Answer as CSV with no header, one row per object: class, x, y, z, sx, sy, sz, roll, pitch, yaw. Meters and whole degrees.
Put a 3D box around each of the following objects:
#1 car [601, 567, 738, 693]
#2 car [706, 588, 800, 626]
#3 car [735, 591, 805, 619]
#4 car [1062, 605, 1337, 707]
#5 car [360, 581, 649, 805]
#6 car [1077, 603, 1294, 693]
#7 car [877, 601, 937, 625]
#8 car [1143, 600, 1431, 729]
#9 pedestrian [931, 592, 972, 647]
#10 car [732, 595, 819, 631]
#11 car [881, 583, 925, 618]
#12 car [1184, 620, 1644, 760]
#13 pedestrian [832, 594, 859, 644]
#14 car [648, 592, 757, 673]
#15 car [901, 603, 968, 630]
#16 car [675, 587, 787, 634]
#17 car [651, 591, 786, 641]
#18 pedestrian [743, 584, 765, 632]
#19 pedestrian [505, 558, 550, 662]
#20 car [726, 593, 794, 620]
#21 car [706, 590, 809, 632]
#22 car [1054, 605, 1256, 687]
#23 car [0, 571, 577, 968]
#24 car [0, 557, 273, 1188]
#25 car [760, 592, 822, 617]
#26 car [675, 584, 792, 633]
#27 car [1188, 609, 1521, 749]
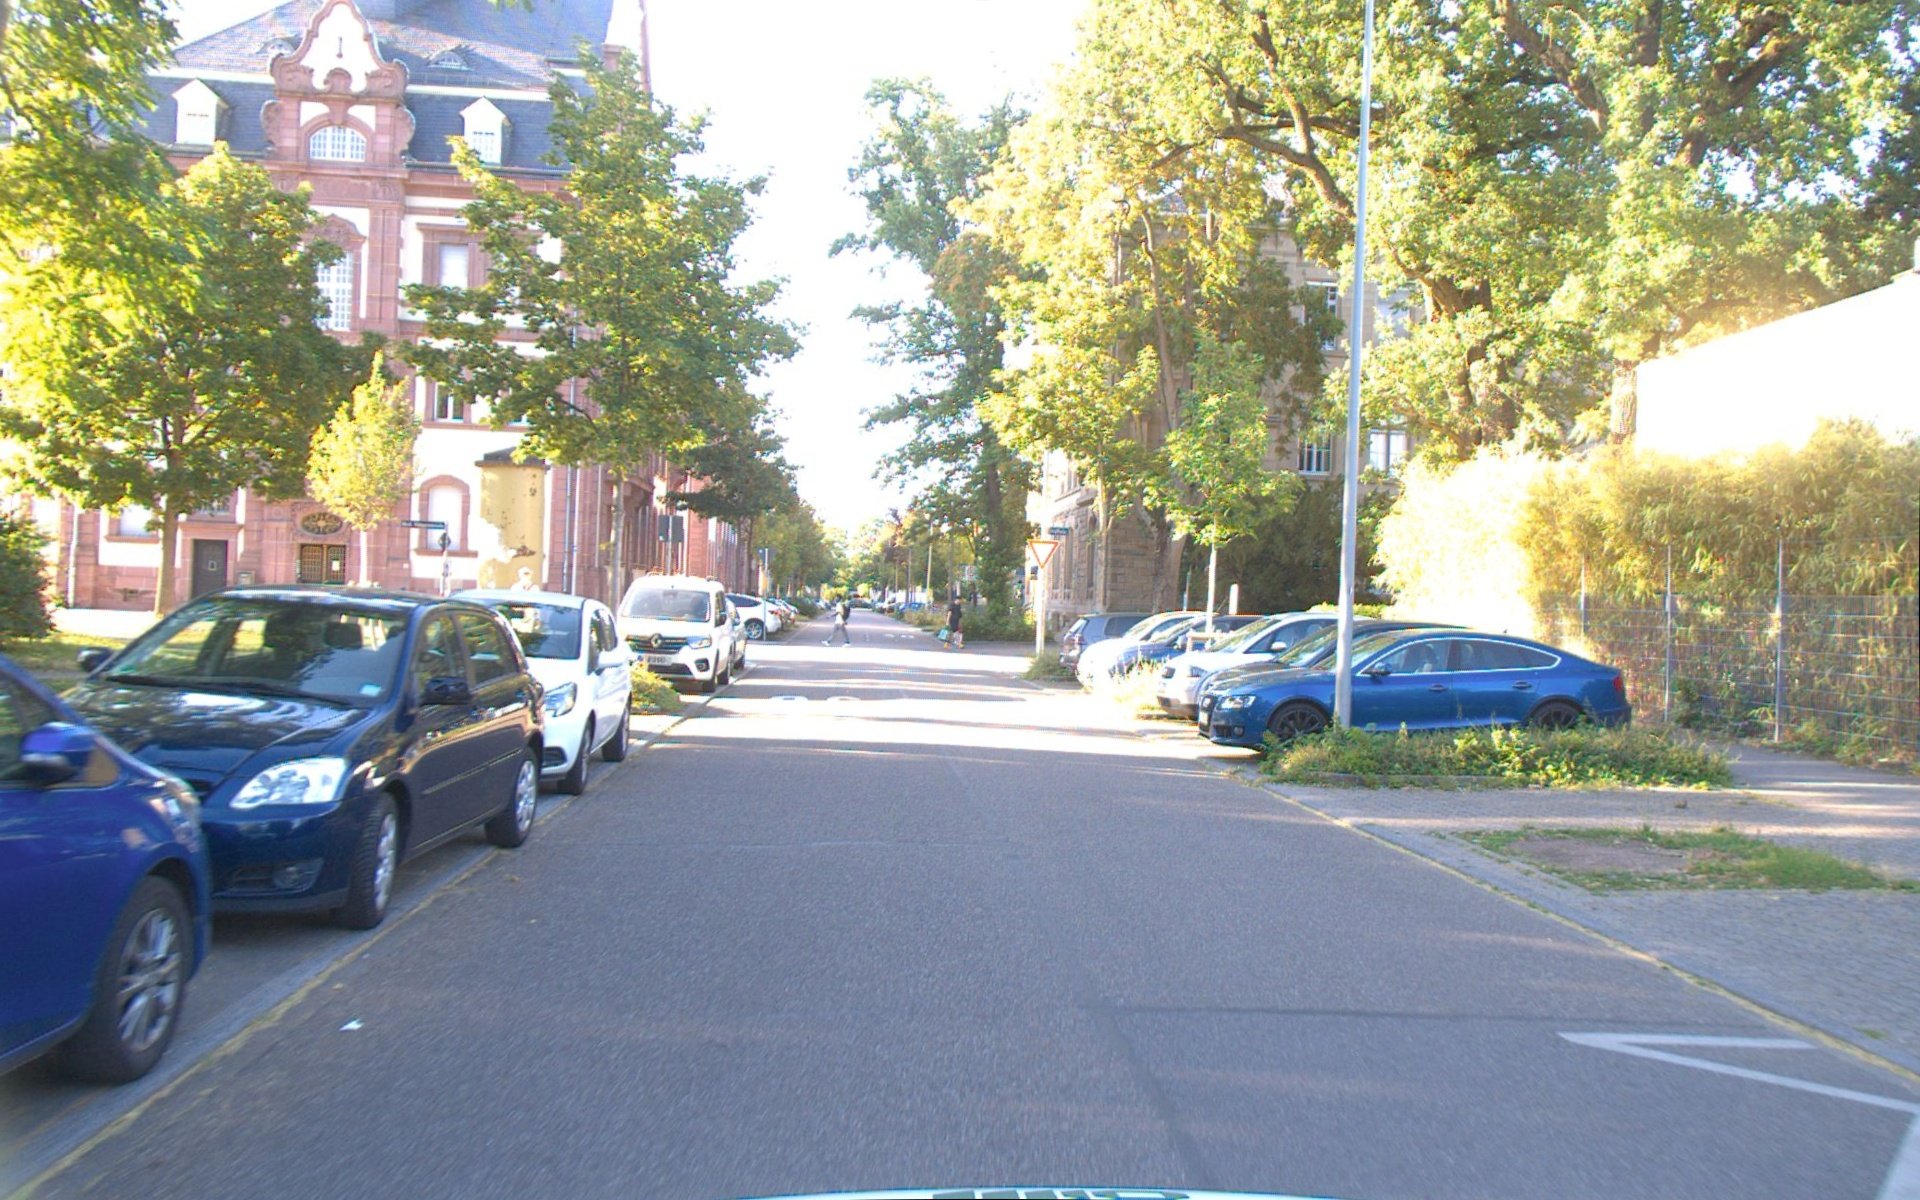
car,-4.751,0.457,27.645,1.746,1.873,4.549,2,0,-4
car,-9.997,0.354,79.994,4.396,1.636,1.840,2,0,-6
car,-12.236,0.318,106.749,4.396,1.636,1.840,2,0,-6
car,4.140,0.955,28.972,4.405,1.576,1.888,2,0,-7
car,-3.621,0.667,13.784,1.561,1.553,3.861,2,0,-5
car,4.247,0.892,31.539,3.874,1.543,1.674,2,0,-1
car,-4.193,1.019,130.477,4.495,1.636,1.840,2,0,-6
car,4.459,0.870,22.735,3.434,1.612,1.756,2,0,-14
pedestrian,-0.313,0.696,59.161,1.052,1.890,0.990,3,-1,-35
car,-9.552,0.673,85.856,4.396,1.636,1.840,2,0,-6
car,-6.446,0.049,186.671,4.790,3.681,1.840,2,0,-5
car,4.848,0.947,18.097,4.497,1.439,1.921,0,-1,-3
pedestrian,-3.779,0.629,54.505,0.770,1.634,0.719,2,-2,-10
car,-5.312,0.638,34.593,1.746,1.531,4.549,2,0,-3
car,-1.785,1.124,113.762,4.396,1.636,1.840,2,0,-6
car,-9.245,0.420,67.054,4.396,1.747,1.840,2,0,-6
car,-8.758,0.593,60.364,4.749,1.622,1.840,2,0,-6
pedestrian,-8.597,0.337,69.047,0.771,1.996,0.718,2,-2,-12
pedestrian,-7.733,0.179,29.565,0.588,1.815,0.945,2,0,-7
car,-13.429,0.440,111.228,4.396,1.636,1.840,2,0,-6
car,-8.887,0.485,72.997,4.396,1.636,1.840,2,0,-6
car,3.974,0.965,34.095,3.875,1.543,1.872,1,-2,-3
car,-3.206,0.668,8.514,1.520,1.520,3.942,2,0,0
car,-3.086,0.624,3.689,1.606,1.521,3.703,4,0,-3
car,-12.370,0.351,121.272,4.396,1.636,1.840,2,0,-6
car,-8.841,0.327,64.914,4.396,1.747,1.840,2,0,-6
car,4.839,0.953,20.562,3.611,1.550,1.789,2,0,-8
